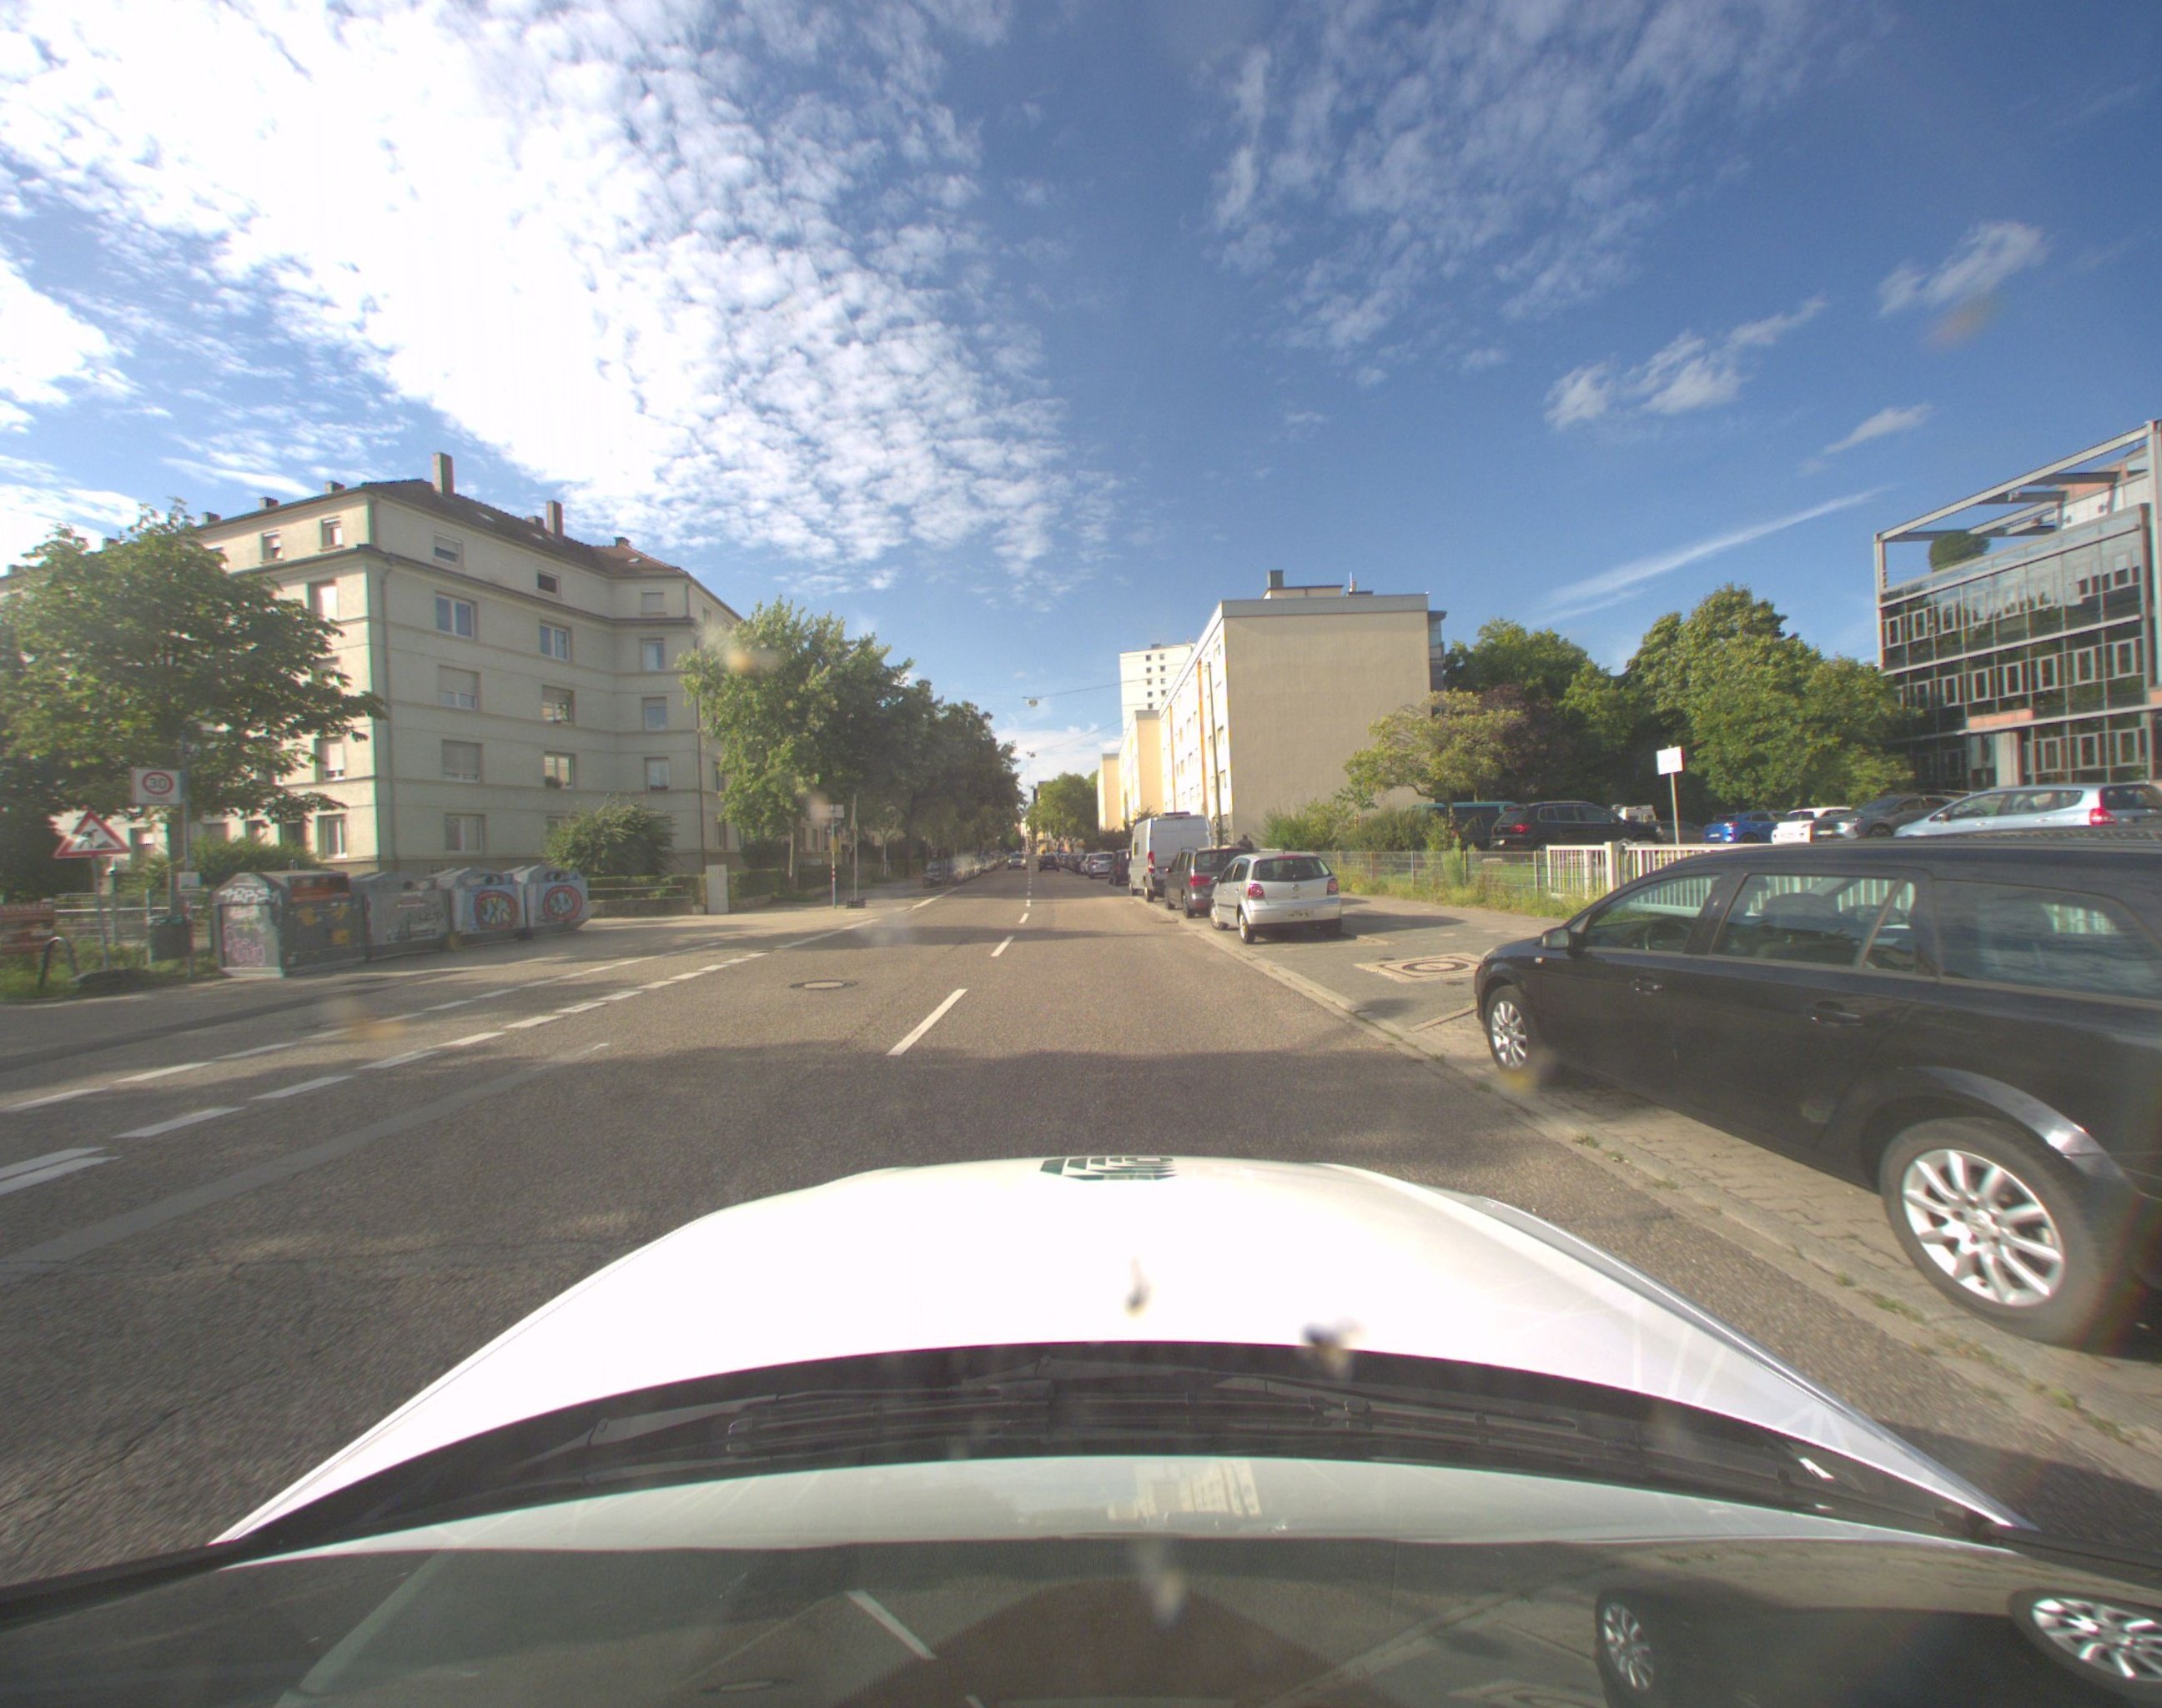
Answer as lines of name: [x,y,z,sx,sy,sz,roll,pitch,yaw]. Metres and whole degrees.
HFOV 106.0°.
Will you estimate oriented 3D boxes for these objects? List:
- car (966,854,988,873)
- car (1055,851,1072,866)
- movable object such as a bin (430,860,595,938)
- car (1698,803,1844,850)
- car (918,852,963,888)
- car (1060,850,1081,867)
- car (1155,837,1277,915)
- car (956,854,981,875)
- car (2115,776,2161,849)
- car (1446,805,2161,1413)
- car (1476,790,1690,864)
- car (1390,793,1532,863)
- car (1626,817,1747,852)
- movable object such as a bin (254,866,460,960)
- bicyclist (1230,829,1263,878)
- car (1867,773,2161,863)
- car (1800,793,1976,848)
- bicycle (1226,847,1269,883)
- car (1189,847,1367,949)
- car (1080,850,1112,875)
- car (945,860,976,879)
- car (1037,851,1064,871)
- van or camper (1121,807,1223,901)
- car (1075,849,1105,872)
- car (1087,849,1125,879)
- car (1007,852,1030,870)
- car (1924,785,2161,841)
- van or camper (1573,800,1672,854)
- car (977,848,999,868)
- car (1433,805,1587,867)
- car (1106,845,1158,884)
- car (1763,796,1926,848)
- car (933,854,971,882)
car: [-9.183,0.843,72.326,1.805,1.561,3.426,-3,0,-7]
car: [-2.206,0.562,103.683,1.988,1.684,3.998,-3,0,-1]
movable object such as a bin: [-13.287,1.029,19.084,3.082,1.708,1.415,-1,0,13]
car: [26.669,-1.046,31.573,3.976,1.552,1.999,-3,0,-2]
car: [-7.252,0.798,42.488,1.991,1.640,3.991,-3,0,-7]
car: [-1.119,0.438,85.273,1.988,1.574,3.998,-3,0,-1]
car: [3.189,0.470,20.196,1.989,1.615,4.402,-3,0,-3]
car: [-8.074,0.761,58.721,1.635,1.390,3.426,-3,0,-7]
car: [22.715,-0.887,15.060,1.992,1.442,3.990,-3,0,-7]
car: [3.520,0.603,3.828,1.711,1.496,4.268,-2,0,1]
car: [13.295,-0.711,21.803,4.430,1.621,2.002,-3,1,3]
car: [13.510,-0.899,29.172,4.102,2.186,2.002,-3,0,3]
car: [27.207,-0.856,36.688,3.977,1.329,1.998,-3,0,-3]
movable object such as a bin: [-14.336,1.143,16.184,3.081,1.708,1.553,-2,0,14]
bicyclist: [5.329,-0.019,26.263,0.735,1.513,0.874,-5,0,-1]
car: [17.973,-0.635,15.529,1.989,1.442,3.996,-3,0,-3]
car: [26.265,-1.070,26.593,3.982,1.486,1.996,-3,0,-7]
bicycle: [5.359,0.339,26.409,0.738,1.034,2.761,-5,0,-1]
car: [3.401,0.676,15.109,2.010,1.474,4.800,-3,0,-1]
car: [0.971,0.568,55.664,1.988,1.530,3.998,-3,0,-1]
car: [-7.849,0.999,53.310,1.805,1.116,3.583,-3,0,-7]
car: [-2.630,0.586,69.251,1.992,1.570,3.990,-2,0,-7]
van or camper: [2.773,-0.008,26.291,2.205,2.607,5.363,-3,0,-4]
car: [0.633,0.459,60.310,1.988,1.574,3.998,-3,0,-1]
car: [1.407,0.550,47.655,1.988,1.574,3.998,-3,0,-1]
car: [-6.299,0.651,81.508,2.054,1.663,3.917,-3,0,-7]
car: [25.685,-1.060,21.838,3.968,1.310,2.003,-1,0,4]
van or camper: [30.941,-1.462,46.748,2.320,2.874,5.124,-2,0,2]
car: [-10.139,0.422,89.032,1.988,2.013,3.998,-3,0,-1]
car: [13.996,-0.567,26.772,3.970,1.738,2.002,-3,0,3]
car: [2.263,0.431,37.211,1.988,1.574,3.998,-3,0,-1]
car: [27.199,-1.109,29.115,3.976,1.596,1.999,-3,0,-2]
car: [-7.572,0.785,48.081,1.992,1.451,3.895,-3,0,-7]
